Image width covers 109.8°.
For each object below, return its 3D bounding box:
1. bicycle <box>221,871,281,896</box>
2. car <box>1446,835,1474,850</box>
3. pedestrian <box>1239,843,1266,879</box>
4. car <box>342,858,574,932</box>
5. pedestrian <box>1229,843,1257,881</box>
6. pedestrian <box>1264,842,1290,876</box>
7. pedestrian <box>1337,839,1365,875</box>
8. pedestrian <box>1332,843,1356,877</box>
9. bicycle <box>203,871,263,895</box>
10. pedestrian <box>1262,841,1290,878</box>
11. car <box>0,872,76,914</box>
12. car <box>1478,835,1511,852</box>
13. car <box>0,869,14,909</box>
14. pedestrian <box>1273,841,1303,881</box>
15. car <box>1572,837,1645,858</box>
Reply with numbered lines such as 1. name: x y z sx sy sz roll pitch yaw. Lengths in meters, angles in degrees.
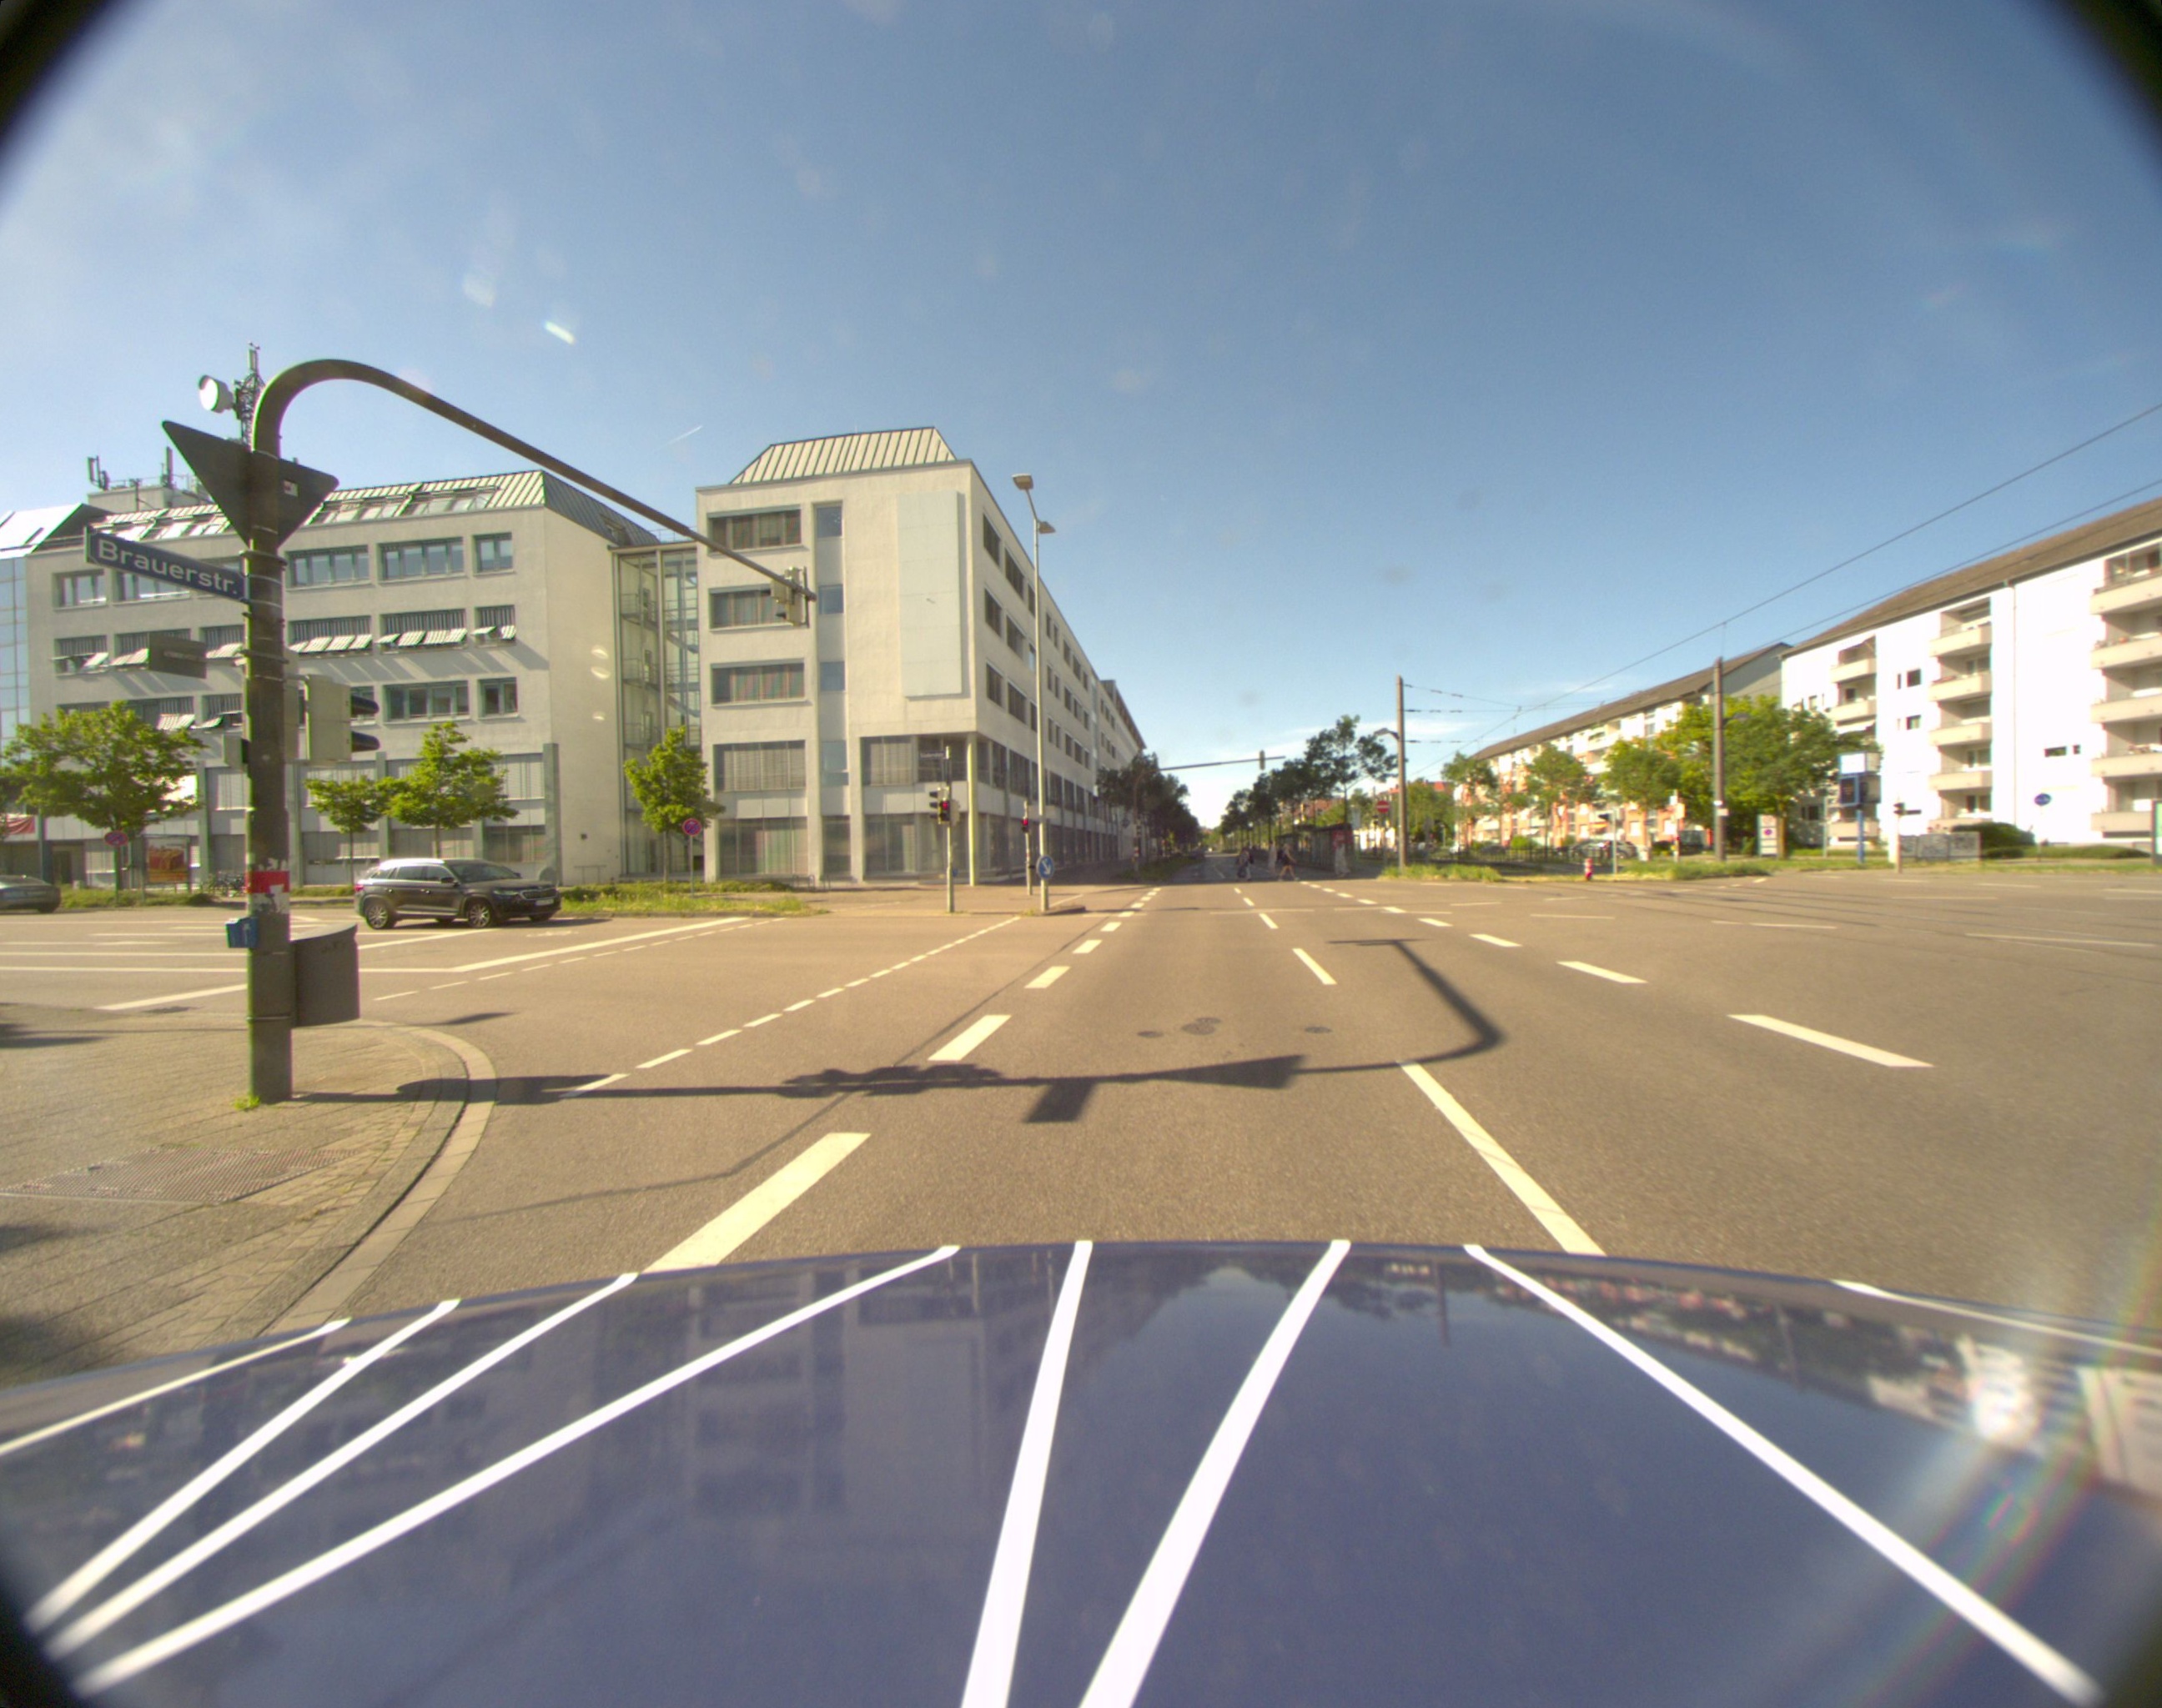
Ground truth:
1. bicycle: -38.821 1.368 35.581 0.620 1.062 1.797 -1 0 17
2. car: 48.015 -1.467 96.333 1.997 1.838 4.002 -1 0 7
3. pedestrian: 8.454 0.337 37.524 1.153 1.716 0.813 -1 1 4
4. car: -15.267 0.988 18.728 4.472 1.619 1.760 -1 3 8
5. pedestrian: 7.578 0.364 35.669 1.153 1.716 0.813 -1 1 4
6. pedestrian: 9.970 0.255 38.663 1.153 1.716 0.813 -1 1 4
7. pedestrian: 13.078 0.140 36.795 1.156 1.716 0.811 -2 1 -40
8. pedestrian: 12.311 0.273 35.584 0.857 1.524 0.726 -1 1 4
9. bicycle: -39.614 1.341 35.519 0.554 1.062 1.775 -1 0 17
10. pedestrian: 9.386 0.265 36.597 1.153 1.760 0.924 -1 1 4
11. car: -40.373 1.460 28.112 4.541 1.460 1.694 -1 0 6
12. car: 46.693 -1.222 85.873 1.997 1.838 4.002 -1 0 7
13. car: -46.257 1.484 30.790 4.304 1.598 1.694 -1 3 10
14. pedestrian: 9.121 0.309 33.514 1.153 1.716 0.813 -1 1 4
15. car: 40.577 -0.526 58.514 1.696 1.424 4.386 -4 4 -43
